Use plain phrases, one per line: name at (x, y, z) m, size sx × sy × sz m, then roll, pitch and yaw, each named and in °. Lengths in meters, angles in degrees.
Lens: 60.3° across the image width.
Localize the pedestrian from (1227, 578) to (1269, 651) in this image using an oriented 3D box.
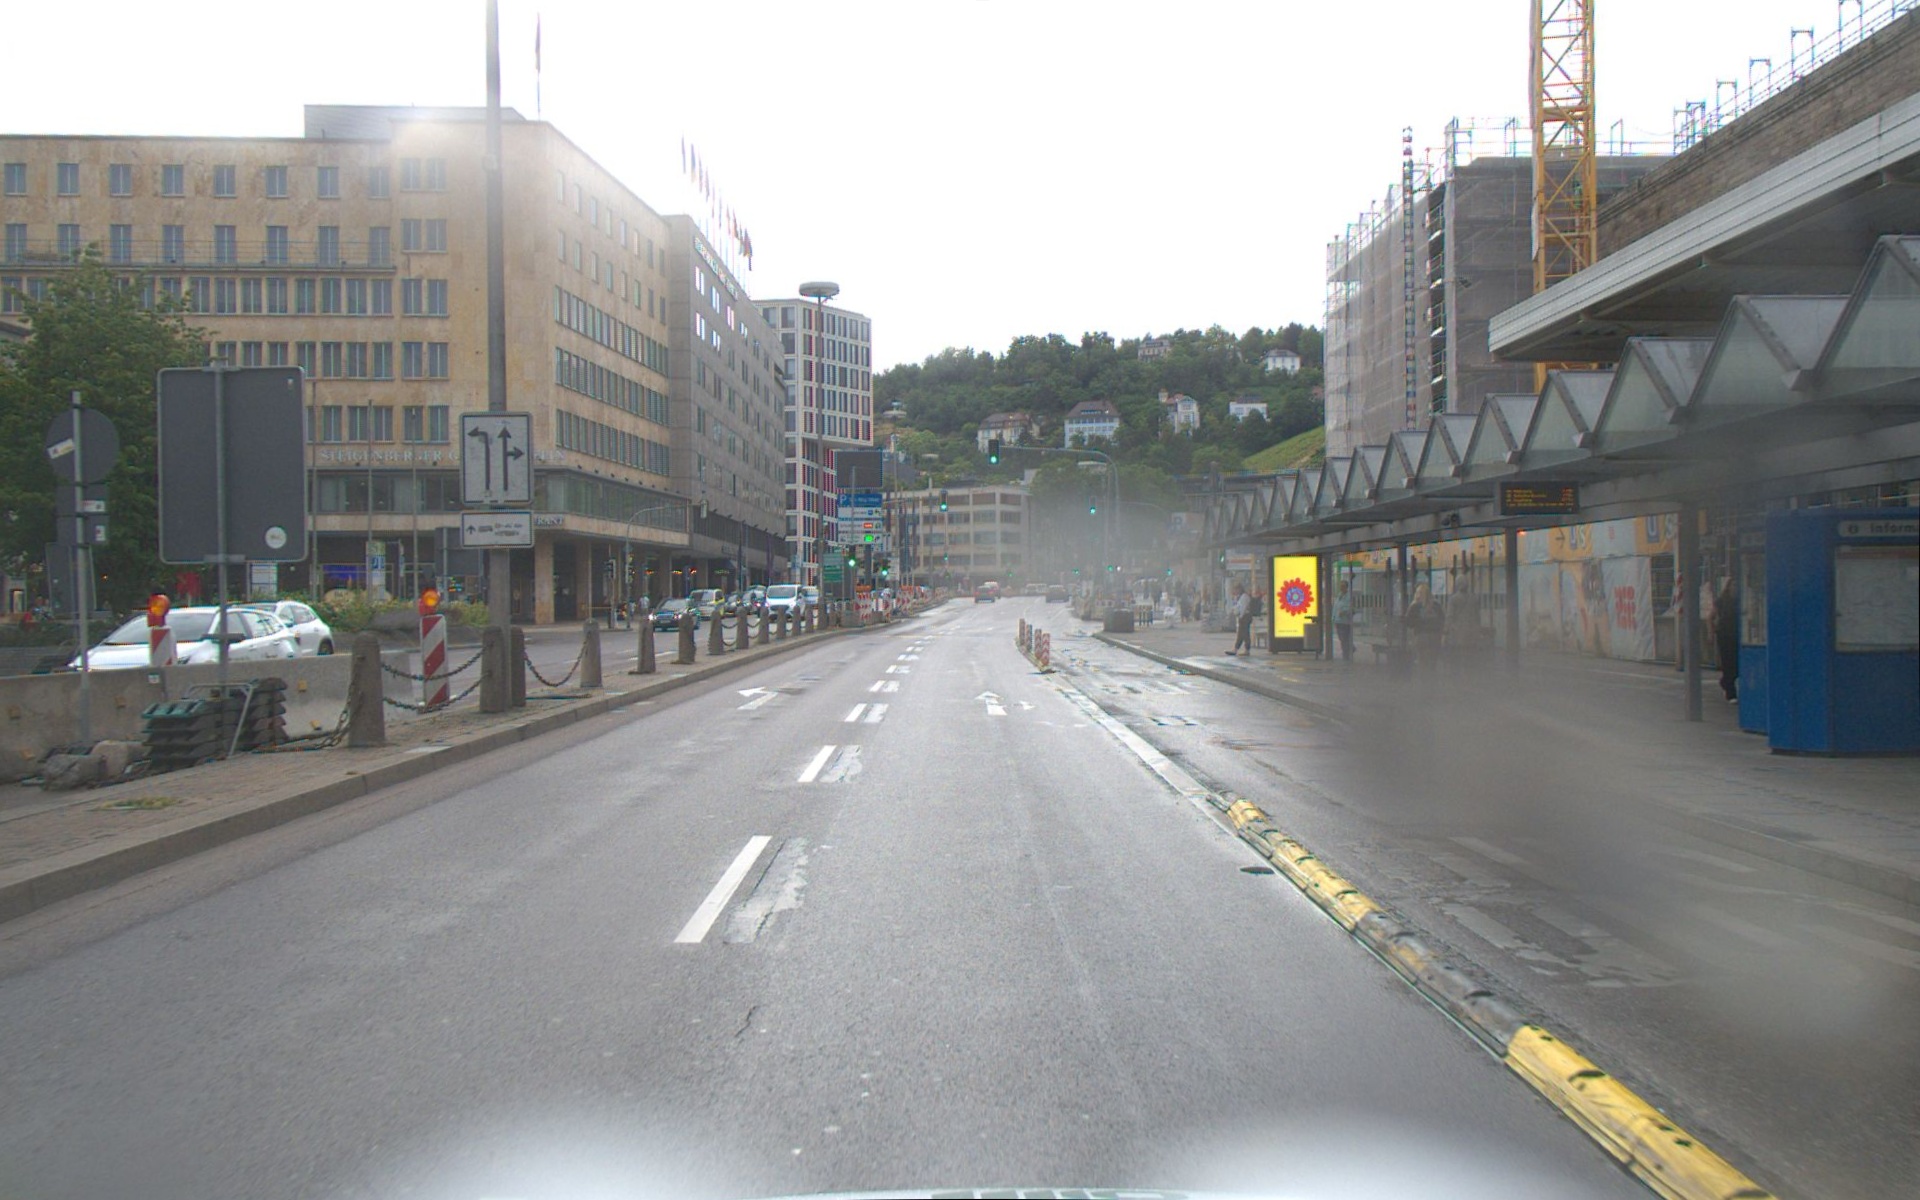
pedestrian at (6.840, 0.338, 39.283) m, size 0.693 × 1.709 × 0.717 m, roll -1°, pitch 0°, yaw -27°

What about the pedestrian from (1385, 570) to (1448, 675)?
pedestrian at (7.457, 0.359, 27.040) m, size 0.791 × 1.689 × 0.804 m, roll 1°, pitch 0°, yaw -1°

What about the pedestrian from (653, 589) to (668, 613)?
pedestrian at (-20.072, 0.060, 110.999) m, size 0.778 × 1.553 × 0.917 m, roll -1°, pitch 0°, yaw 3°

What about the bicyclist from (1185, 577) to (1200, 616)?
bicyclist at (11.326, -0.159, 80.722) m, size 0.688 × 1.877 × 0.968 m, roll 0°, pitch 0°, yaw 6°

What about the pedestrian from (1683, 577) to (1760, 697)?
pedestrian at (10.613, 0.503, 23.069) m, size 0.692 × 1.635 × 0.729 m, roll -1°, pitch 0°, yaw -1°

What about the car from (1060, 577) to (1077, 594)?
car at (12.607, -1.682, 192.319) m, size 1.739 × 1.668 × 4.001 m, roll -2°, pitch -2°, yaw 3°

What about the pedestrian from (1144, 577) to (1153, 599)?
pedestrian at (15.771, -0.994, 138.381) m, size 0.673 × 1.873 × 0.615 m, roll -1°, pitch 0°, yaw 7°

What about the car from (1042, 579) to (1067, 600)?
car at (8.011, -0.881, 140.558) m, size 1.952 × 1.736 × 4.000 m, roll -1°, pitch 0°, yaw 0°

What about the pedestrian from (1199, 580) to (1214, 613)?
pedestrian at (14.429, -0.202, 96.742) m, size 0.846 × 1.873 × 0.798 m, roll -1°, pitch 0°, yaw 11°

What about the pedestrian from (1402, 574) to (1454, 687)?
pedestrian at (6.735, 0.431, 23.825) m, size 0.510 × 1.593 × 0.729 m, roll -1°, pitch 0°, yaw -1°

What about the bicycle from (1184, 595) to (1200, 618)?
bicycle at (11.314, 0.317, 80.701) m, size 0.692 × 1.068 × 1.808 m, roll 0°, pitch 1°, yaw 6°

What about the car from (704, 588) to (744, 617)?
car at (-15.766, 0.160, 110.703) m, size 1.952 × 1.870 × 4.001 m, roll -1°, pitch 0°, yaw 2°

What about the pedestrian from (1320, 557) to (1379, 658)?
pedestrian at (8.228, 0.154, 34.966) m, size 0.797 × 2.086 × 0.913 m, roll 1°, pitch 0°, yaw -40°

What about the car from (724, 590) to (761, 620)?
car at (-15.387, 0.378, 117.222) m, size 1.952 × 2.049 × 4.001 m, roll -1°, pitch 0°, yaw 2°

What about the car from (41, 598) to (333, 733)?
car at (-10.856, 0.840, 23.697) m, size 1.922 × 1.591 × 4.834 m, roll -3°, pitch 1°, yaw -1°

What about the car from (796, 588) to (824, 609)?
car at (-12.176, -0.106, 134.517) m, size 1.731 × 1.637 × 4.227 m, roll -1°, pitch 0°, yaw 2°

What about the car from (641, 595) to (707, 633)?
car at (-13.079, 0.631, 75.965) m, size 1.952 × 1.645 × 4.979 m, roll -1°, pitch 0°, yaw 2°

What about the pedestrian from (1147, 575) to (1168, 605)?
pedestrian at (12.178, -0.620, 102.089) m, size 0.929 × 1.873 × 0.944 m, roll -1°, pitch 0°, yaw 32°

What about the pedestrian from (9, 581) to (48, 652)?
pedestrian at (-27.382, 0.486, 48.639) m, size 0.653 × 2.049 × 0.793 m, roll -1°, pitch 0°, yaw 2°

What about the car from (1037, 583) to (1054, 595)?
car at (11.154, -1.403, 215.733) m, size 1.953 × 1.467 × 4.000 m, roll 1°, pitch 1°, yaw 0°

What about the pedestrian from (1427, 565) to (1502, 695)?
pedestrian at (6.850, 0.398, 22.485) m, size 0.747 × 1.723 × 0.822 m, roll -1°, pitch 0°, yaw -1°

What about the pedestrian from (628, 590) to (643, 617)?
pedestrian at (-19.383, 0.209, 98.828) m, size 0.706 × 1.584 × 0.895 m, roll -1°, pitch 0°, yaw 3°

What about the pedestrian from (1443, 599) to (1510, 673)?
pedestrian at (9.062, 0.626, 29.052) m, size 0.894 × 1.252 × 0.840 m, roll 1°, pitch 0°, yaw 0°

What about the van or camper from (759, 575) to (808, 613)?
van or camper at (-9.700, -0.316, 91.304) m, size 1.952 × 2.049 × 5.190 m, roll 0°, pitch 0°, yaw 2°

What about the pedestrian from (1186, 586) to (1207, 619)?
pedestrian at (11.891, 0.109, 83.157) m, size 0.780 × 1.636 × 0.834 m, roll -1°, pitch 0°, yaw 30°

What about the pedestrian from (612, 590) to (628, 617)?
pedestrian at (-20.343, 0.211, 98.874) m, size 0.706 × 1.584 × 0.906 m, roll -1°, pitch 0°, yaw 3°

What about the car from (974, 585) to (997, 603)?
car at (2.301, -0.549, 149.238) m, size 1.953 × 1.579 × 3.999 m, roll -1°, pitch 0°, yaw -1°

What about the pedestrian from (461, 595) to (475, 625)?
pedestrian at (-27.329, 0.556, 91.844) m, size 0.684 × 1.673 × 0.647 m, roll -1°, pitch 0°, yaw -18°

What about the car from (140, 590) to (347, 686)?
car at (-13.731, 0.668, 32.055) m, size 1.922 × 1.591 × 4.834 m, roll -3°, pitch 1°, yaw -1°

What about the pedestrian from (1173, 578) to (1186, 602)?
pedestrian at (17.288, -0.791, 130.262) m, size 0.926 × 1.873 × 0.868 m, roll -1°, pitch 0°, yaw 8°

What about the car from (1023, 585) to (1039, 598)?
car at (8.521, -1.042, 198.856) m, size 1.782 × 1.467 × 4.000 m, roll 1°, pitch 1°, yaw 0°

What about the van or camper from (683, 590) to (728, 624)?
van or camper at (-15.994, 0.443, 104.282) m, size 1.952 × 2.049 × 4.966 m, roll -1°, pitch 0°, yaw 1°
